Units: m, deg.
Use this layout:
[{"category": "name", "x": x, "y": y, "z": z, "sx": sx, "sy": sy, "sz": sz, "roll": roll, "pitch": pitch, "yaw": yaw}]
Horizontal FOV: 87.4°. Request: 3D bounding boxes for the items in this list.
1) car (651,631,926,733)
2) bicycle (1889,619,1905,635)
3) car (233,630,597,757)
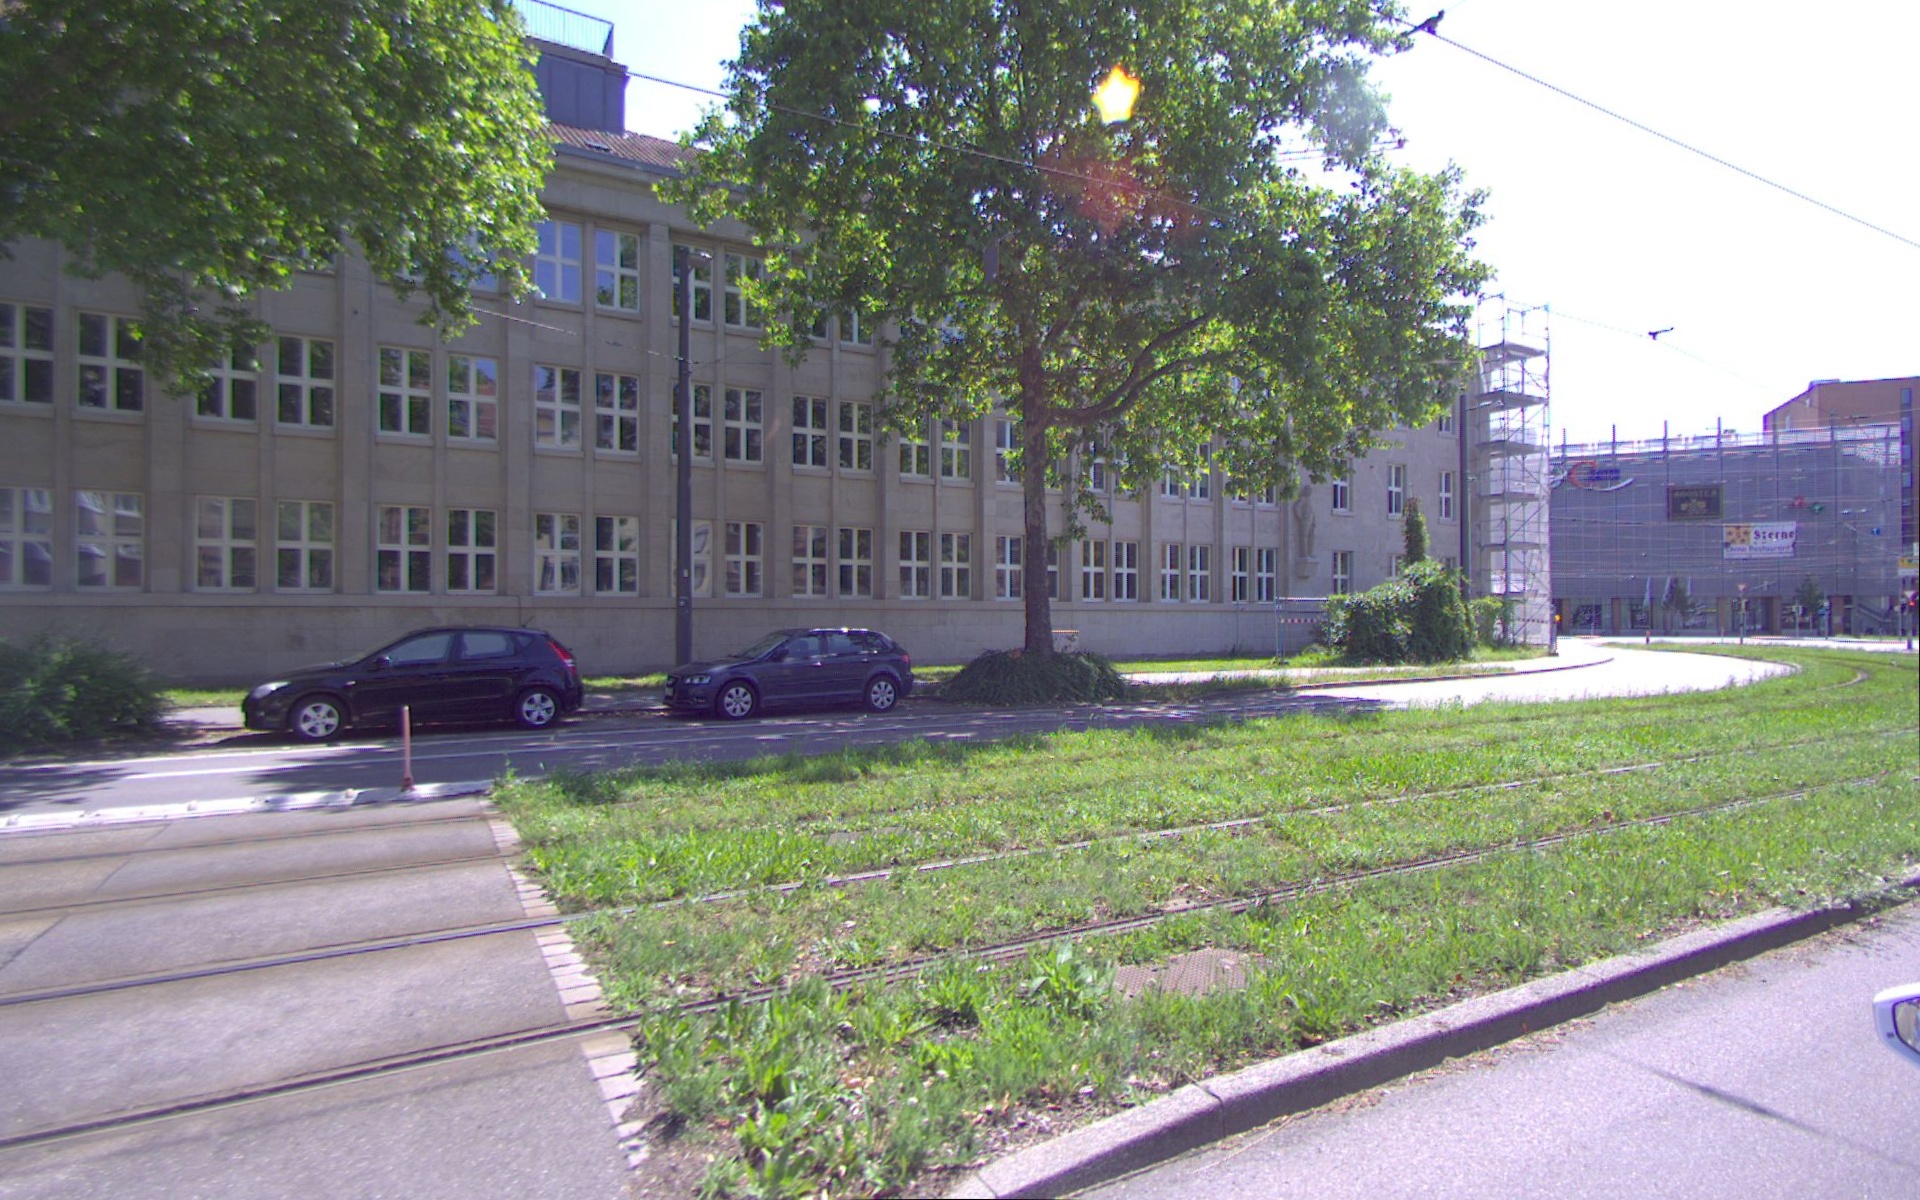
[{"category": "car", "x": -2.797, "y": 1.280, "z": 16.815, "sx": 4.278, "sy": 1.443, "sz": 1.578, "roll": 1, "pitch": 0, "yaw": -34}, {"category": "bicycle", "x": 103.732, "y": 2.958, "z": 111.208, "sx": 0.589, "sy": 1.754, "sz": 2.259, "roll": 0, "pitch": 0, "yaw": 23}, {"category": "car", "x": -7.524, "y": 1.210, "z": 14.205, "sx": 4.271, "sy": 1.503, "sz": 1.755, "roll": 1, "pitch": 0, "yaw": -30}]
